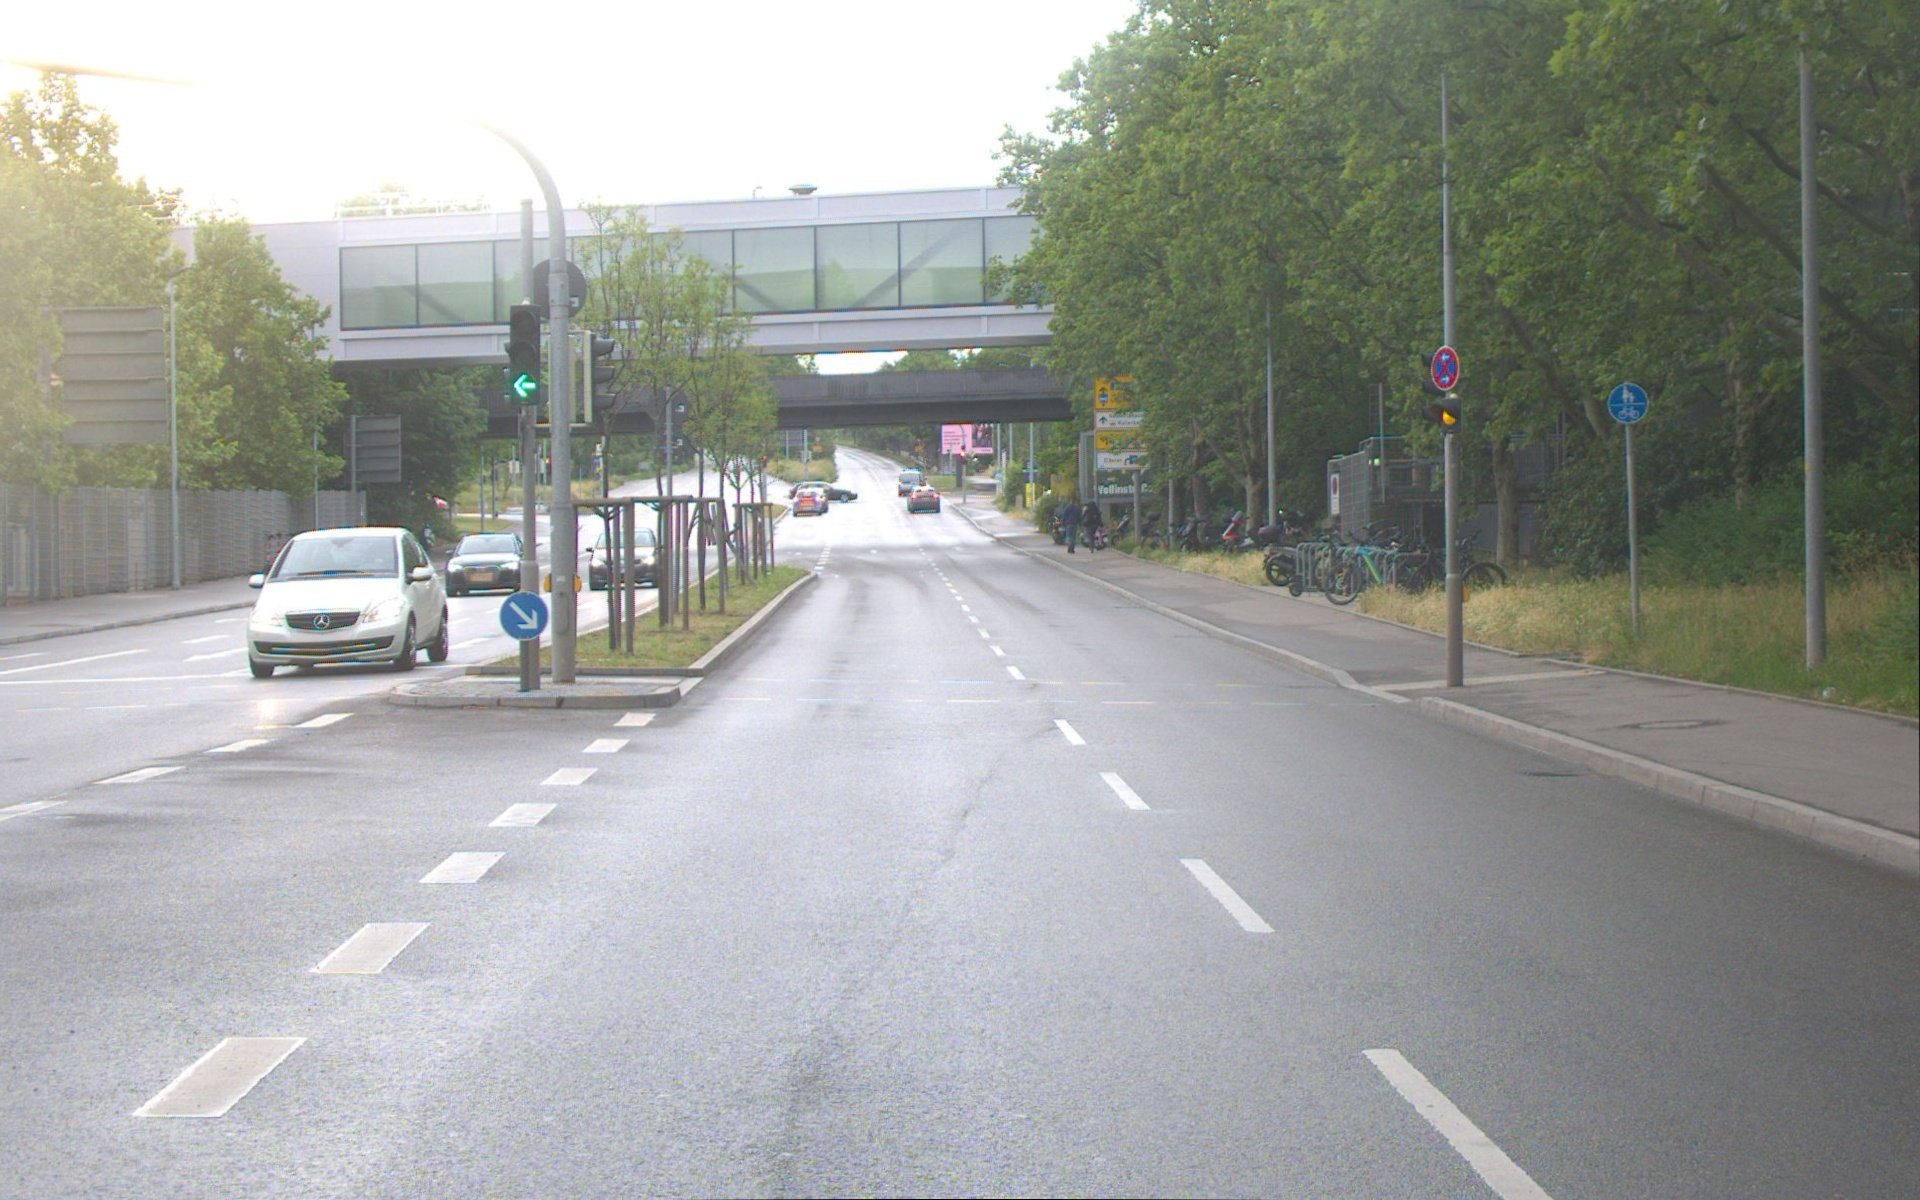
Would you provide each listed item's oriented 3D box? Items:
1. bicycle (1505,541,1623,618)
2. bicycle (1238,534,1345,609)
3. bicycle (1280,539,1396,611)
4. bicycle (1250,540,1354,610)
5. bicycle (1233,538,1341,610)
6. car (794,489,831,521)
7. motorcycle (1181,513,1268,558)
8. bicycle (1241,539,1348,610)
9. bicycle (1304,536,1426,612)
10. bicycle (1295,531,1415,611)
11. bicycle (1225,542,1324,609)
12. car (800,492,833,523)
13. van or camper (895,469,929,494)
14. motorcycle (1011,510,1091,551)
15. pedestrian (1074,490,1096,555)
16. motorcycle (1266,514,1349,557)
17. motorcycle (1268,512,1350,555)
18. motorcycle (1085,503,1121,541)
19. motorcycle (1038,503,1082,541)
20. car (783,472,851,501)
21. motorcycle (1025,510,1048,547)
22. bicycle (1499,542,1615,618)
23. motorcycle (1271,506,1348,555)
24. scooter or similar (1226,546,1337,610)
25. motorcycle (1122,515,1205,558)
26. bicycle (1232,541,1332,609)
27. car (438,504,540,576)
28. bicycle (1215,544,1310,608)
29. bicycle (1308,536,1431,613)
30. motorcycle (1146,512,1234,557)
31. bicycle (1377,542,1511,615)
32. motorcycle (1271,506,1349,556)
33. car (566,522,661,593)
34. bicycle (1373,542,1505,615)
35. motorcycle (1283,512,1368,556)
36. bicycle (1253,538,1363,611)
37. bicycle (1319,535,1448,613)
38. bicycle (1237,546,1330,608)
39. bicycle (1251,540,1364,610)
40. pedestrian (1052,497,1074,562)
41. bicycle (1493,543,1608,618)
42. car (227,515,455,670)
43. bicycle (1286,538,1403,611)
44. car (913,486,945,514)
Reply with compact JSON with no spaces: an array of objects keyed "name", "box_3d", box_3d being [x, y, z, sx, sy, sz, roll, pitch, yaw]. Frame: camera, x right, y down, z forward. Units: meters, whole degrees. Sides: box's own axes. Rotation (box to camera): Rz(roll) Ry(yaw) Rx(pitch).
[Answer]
[{"name":"bicycle","box_3d":[10.876,-0.363,61.939,1.990,1.324,0.576,2,0,0]},{"name":"bicycle","box_3d":[6.510,-0.558,67.554,1.990,1.425,0.723,2,0,0]},{"name":"bicycle","box_3d":[6.786,-0.446,61.789,1.990,1.237,0.541,2,0,0]},{"name":"bicycle","box_3d":[6.800,-0.500,68.409,1.990,1.324,0.576,2,0,0]},{"name":"bicycle","box_3d":[6.257,-0.499,65.878,1.990,1.324,0.576,2,0,0]},{"name":"car","box_3d":[-8.862,-5.702,206.692,1.993,1.756,4.000,2,0,0]},{"name":"motorcycle","box_3d":[7.454,-1.822,96.809,2.369,1.198,0.722,-1,1,7]},{"name":"bicycle","box_3d":[6.506,-0.494,66.822,1.990,1.324,0.576,2,0,0]},{"name":"bicycle","box_3d":[6.923,-0.438,58.796,1.990,1.237,0.541,2,0,0]},{"name":"bicycle","box_3d":[6.906,-0.506,60.148,1.990,1.336,0.541,2,0,0]},{"name":"bicycle","box_3d":[6.496,-0.513,71.048,1.963,1.324,0.654,2,0,0]},{"name":"car","box_3d":[-8.837,-5.688,212.144,1.884,1.756,3.969,2,0,0]},{"name":"van or camper","box_3d":[-3.548,-8.752,254.613,1.798,1.807,3.765,2,2,11]},{"name":"motorcycle","box_3d":[2.769,-2.113,104.557,2.369,1.198,0.722,-1,1,7]},{"name":"pedestrian","box_3d":[3.899,-2.411,107.469,0.622,2.007,0.605,-2,1,0]},{"name":"motorcycle","box_3d":[10.129,-1.883,100.165,2.369,1.198,0.722,-1,1,7]},{"name":"motorcycle","box_3d":[10.283,-1.969,101.236,2.369,1.198,0.722,-1,1,7]},{"name":"motorcycle","box_3d":[5.060,-2.747,121.606,0.790,1.307,2.377,-2,1,-9]},{"name":"motorcycle","box_3d":[3.639,-2.837,125.354,0.790,1.307,2.377,-2,1,-19]},{"name":"car","box_3d":[-9.843,-7.792,236.060,4.510,1.756,1.905,2,0,1]},{"name":"motorcycle","box_3d":[3.197,-2.999,144.629,0.790,1.528,2.377,-2,1,-2]},{"name":"bicycle","box_3d":[10.869,-0.365,62.604,1.990,1.324,0.576,2,0,0]},{"name":"motorcycle","box_3d":[10.999,-2.191,108.263,2.369,1.471,0.722,-1,1,7]},{"name":"scooter or similar","box_3d":[5.992,-0.401,64.062,1.990,1.134,0.541,2,0,0]},{"name":"motorcycle","box_3d":[6.013,-1.864,101.529,2.369,1.198,0.722,-1,1,7]},{"name":"bicycle","box_3d":[6.590,-0.509,70.358,1.960,1.324,0.576,2,0,0]},{"name":"car","box_3d":[-11.026,-1.412,80.747,1.877,1.619,3.779,-1,1,0]},{"name":"bicycle","box_3d":[6.544,-0.517,74.367,1.963,1.324,0.654,2,0,0]},{"name":"bicycle","box_3d":[6.915,-0.432,58.070,1.990,1.229,0.541,2,0,0]},{"name":"motorcycle","box_3d":[6.355,-1.809,94.878,2.369,1.198,0.722,-1,1,7]},{"name":"bicycle","box_3d":[7.579,-0.338,53.854,1.990,1.091,0.541,2,0,0]},{"name":"motorcycle","box_3d":[10.907,-2.147,107.028,2.369,1.471,0.722,-1,1,7]},{"name":"car","box_3d":[-8.223,-1.032,81.793,1.877,1.619,3.779,-1,1,0]},{"name":"bicycle","box_3d":[7.573,-0.339,54.423,1.990,1.091,0.541,2,0,0]},{"name":"motorcycle","box_3d":[10.519,-1.910,98.889,2.369,1.198,0.722,-1,1,7]},{"name":"bicycle","box_3d":[6.590,-0.489,65.069,1.990,1.324,0.576,2,0,0]},{"name":"bicycle","box_3d":[6.875,-0.421,55.881,1.990,1.212,0.541,2,0,0]},{"name":"bicycle","box_3d":[7.143,-0.503,75.871,1.963,1.324,0.654,2,0,0]},{"name":"bicycle","box_3d":[6.372,-0.460,63.163,1.990,1.237,0.541,2,0,0]},{"name":"pedestrian","box_3d":[3.209,-2.211,107.471,0.622,2.007,0.605,-2,1,0]},{"name":"bicycle","box_3d":[10.875,-0.366,63.351,1.990,1.324,0.576,2,0,0]},{"name":"car","box_3d":[-6.889,-0.114,38.601,1.877,1.619,3.779,-1,1,0]},{"name":"bicycle","box_3d":[6.801,-0.444,60.840,1.990,1.237,0.541,2,0,0]},{"name":"car","box_3d":[-1.830,-5.906,202.977,1.875,1.492,4.068,2,0,0]}]
